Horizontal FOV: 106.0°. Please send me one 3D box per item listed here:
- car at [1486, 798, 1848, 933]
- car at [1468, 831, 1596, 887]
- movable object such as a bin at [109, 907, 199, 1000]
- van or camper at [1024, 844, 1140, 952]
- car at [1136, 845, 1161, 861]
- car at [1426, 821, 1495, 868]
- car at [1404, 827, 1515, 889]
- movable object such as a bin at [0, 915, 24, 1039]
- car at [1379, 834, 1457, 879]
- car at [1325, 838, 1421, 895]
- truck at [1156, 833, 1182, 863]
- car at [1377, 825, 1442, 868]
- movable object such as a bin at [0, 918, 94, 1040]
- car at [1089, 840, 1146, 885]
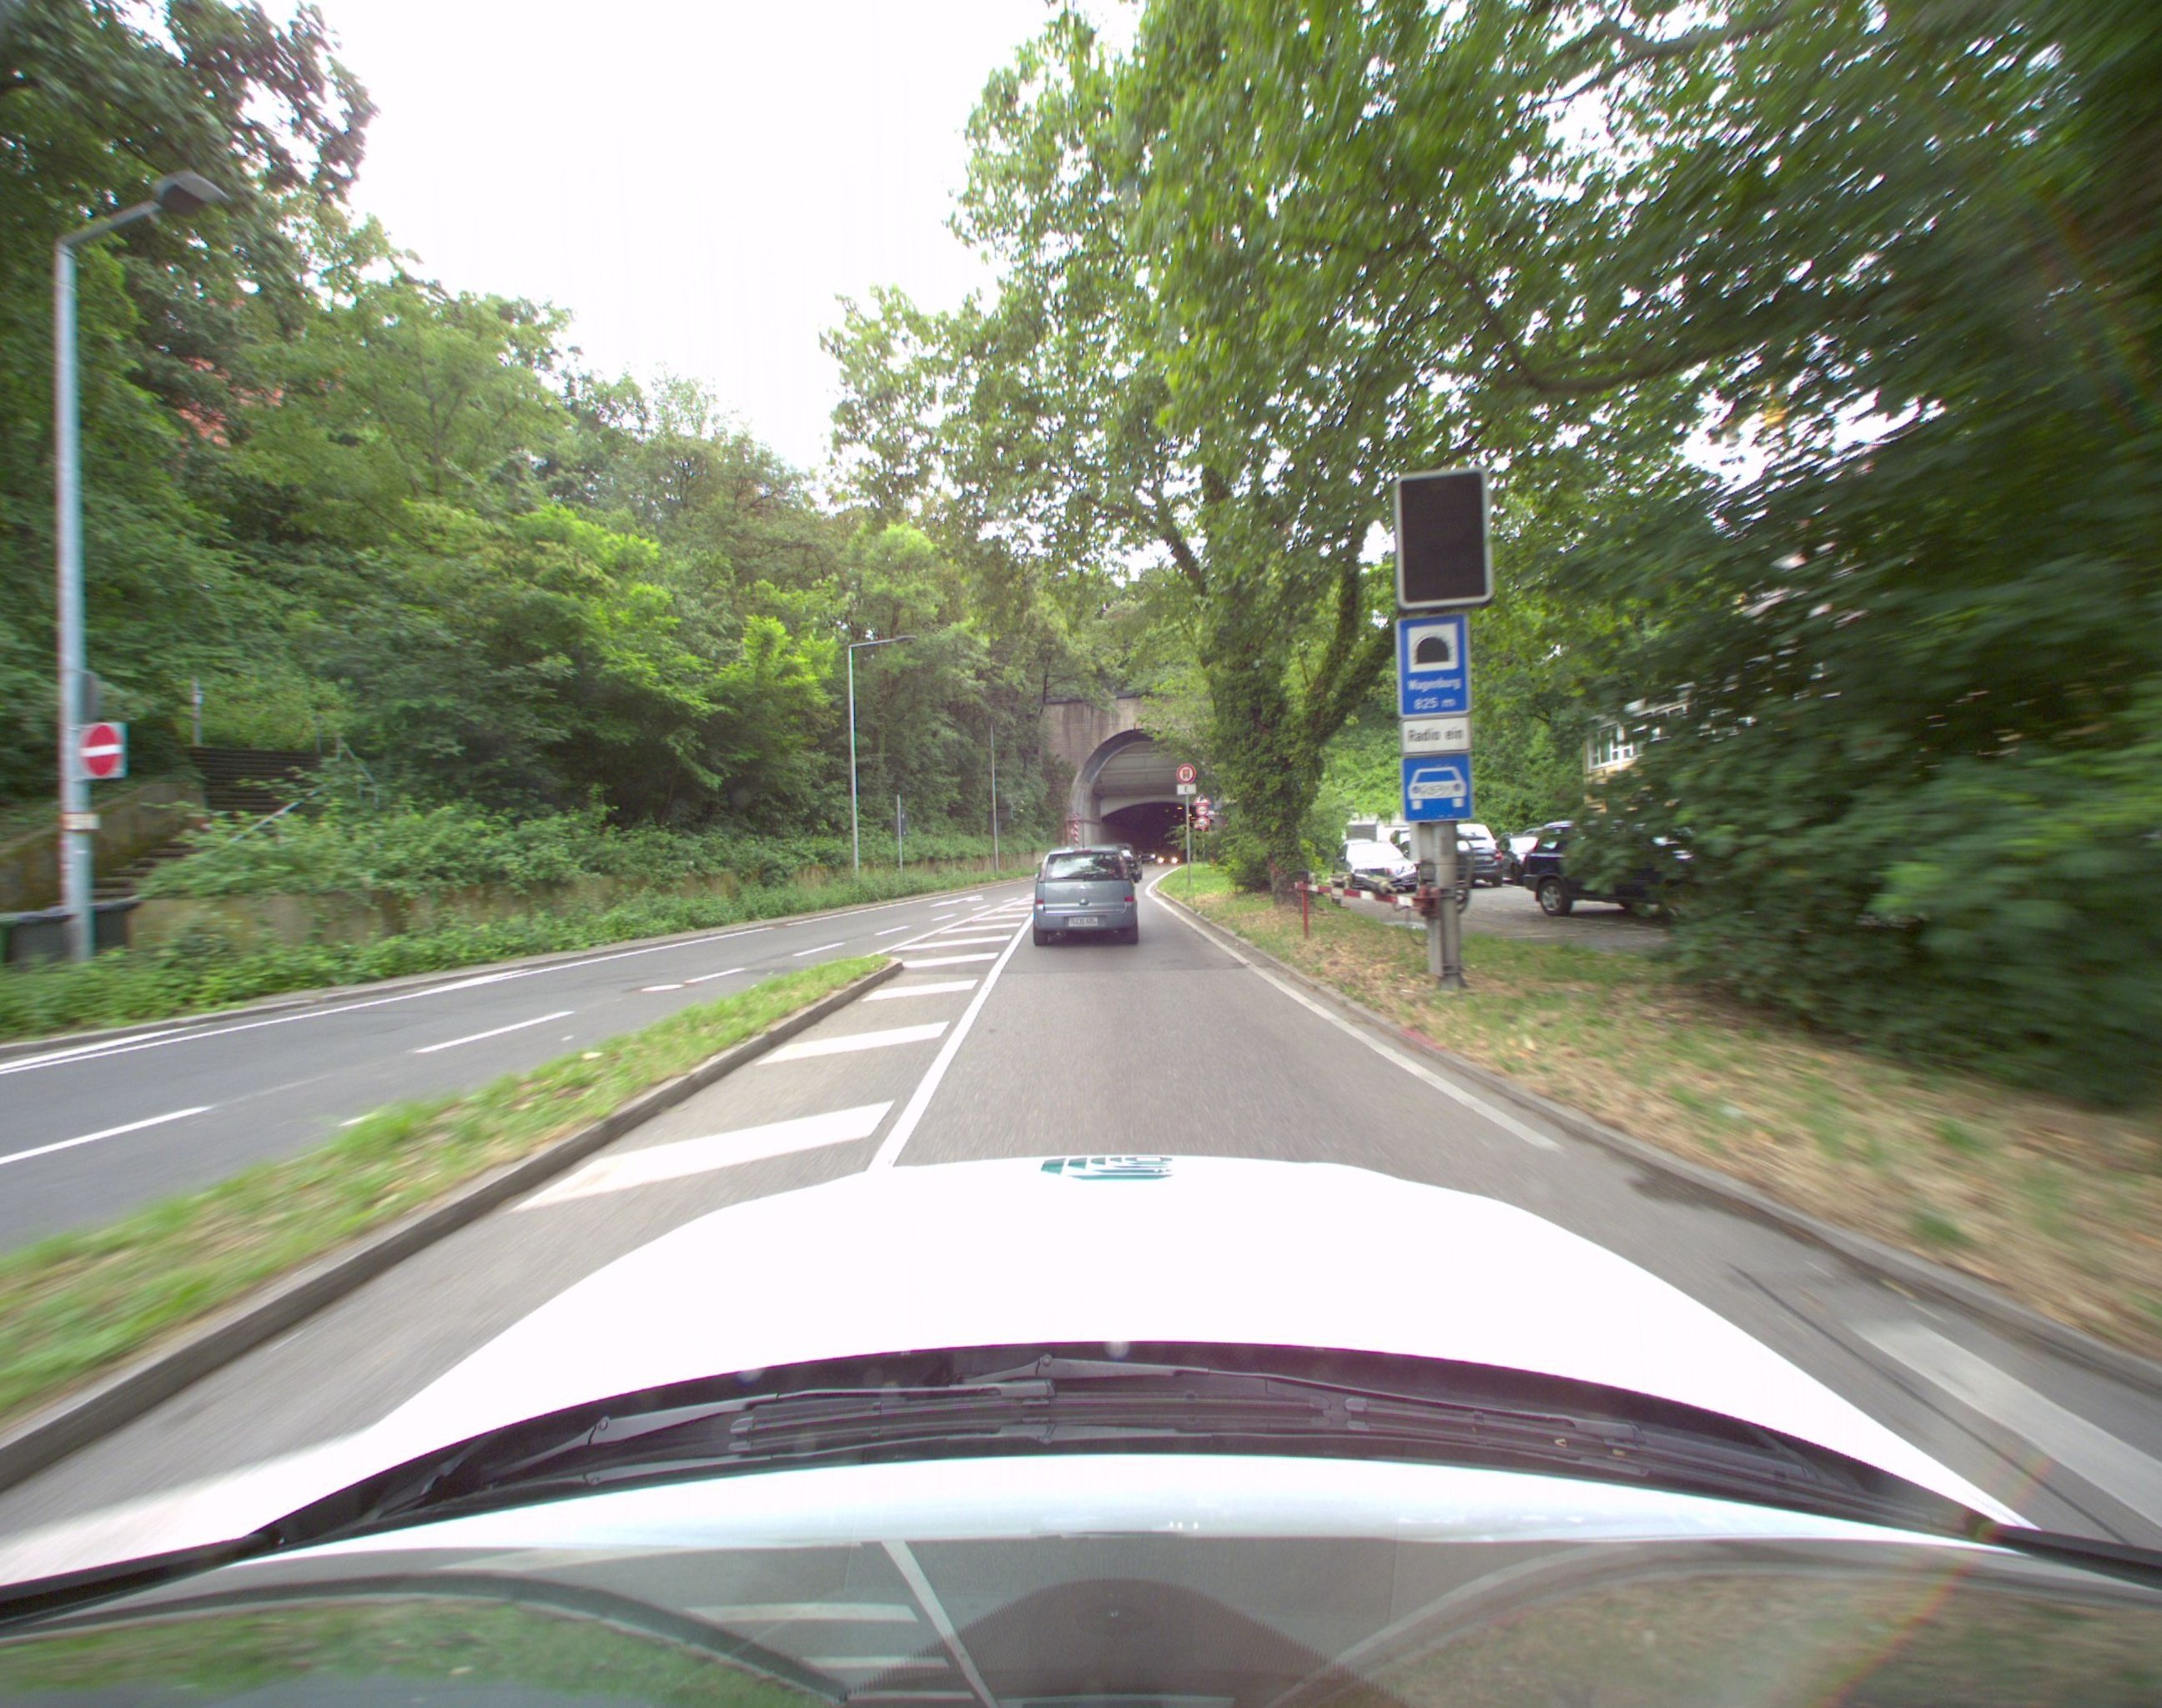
[{"bbox_3d":[9.053,0.175,13.278,1.809,1.665,4.869,-4,0,-9],"label":"car"},{"bbox_3d":[12.930,0.093,23.686,1.774,1.378,4.607,-3,1,10],"label":"car"},{"bbox_3d":[-10.888,1.160,9.576,0.554,1.025,0.430,1,1,0],"label":"movable object such as a bin"},{"bbox_3d":[0.034,0.641,14.174,1.729,1.577,3.646,-1,1,0],"label":"van or camper"},{"bbox_3d":[6.797,-0.106,81.600,1.856,1.371,4.471,-4,1,12],"label":"car"},{"bbox_3d":[17.887,-0.427,38.574,1.844,2.014,4.576,-2,0,11],"label":"car"},{"bbox_3d":[11.034,0.060,24.071,1.774,1.558,4.607,-3,1,10],"label":"car"},{"bbox_3d":[-10.819,1.205,7.846,0.603,1.185,0.492,1,1,0],"label":"movable object such as a bin"},{"bbox_3d":[12.016,0.071,29.293,1.733,1.442,3.909,-3,0,10],"label":"car"},{"bbox_3d":[8.520,0.289,24.215,1.774,1.442,5.077,-3,1,10],"label":"car"},{"bbox_3d":[11.288,-0.792,104.164,2.659,3.666,7.540,-2,0,11],"label":"truck"},{"bbox_3d":[15.676,-0.353,39.164,1.845,1.878,4.898,-2,0,10],"label":"car"},{"bbox_3d":[-10.772,1.274,8.417,0.579,1.185,0.430,1,1,0],"label":"movable object such as a bin"},{"bbox_3d":[1.653,0.316,35.367,1.982,1.653,4.010,-3,1,8],"label":"car"}]
